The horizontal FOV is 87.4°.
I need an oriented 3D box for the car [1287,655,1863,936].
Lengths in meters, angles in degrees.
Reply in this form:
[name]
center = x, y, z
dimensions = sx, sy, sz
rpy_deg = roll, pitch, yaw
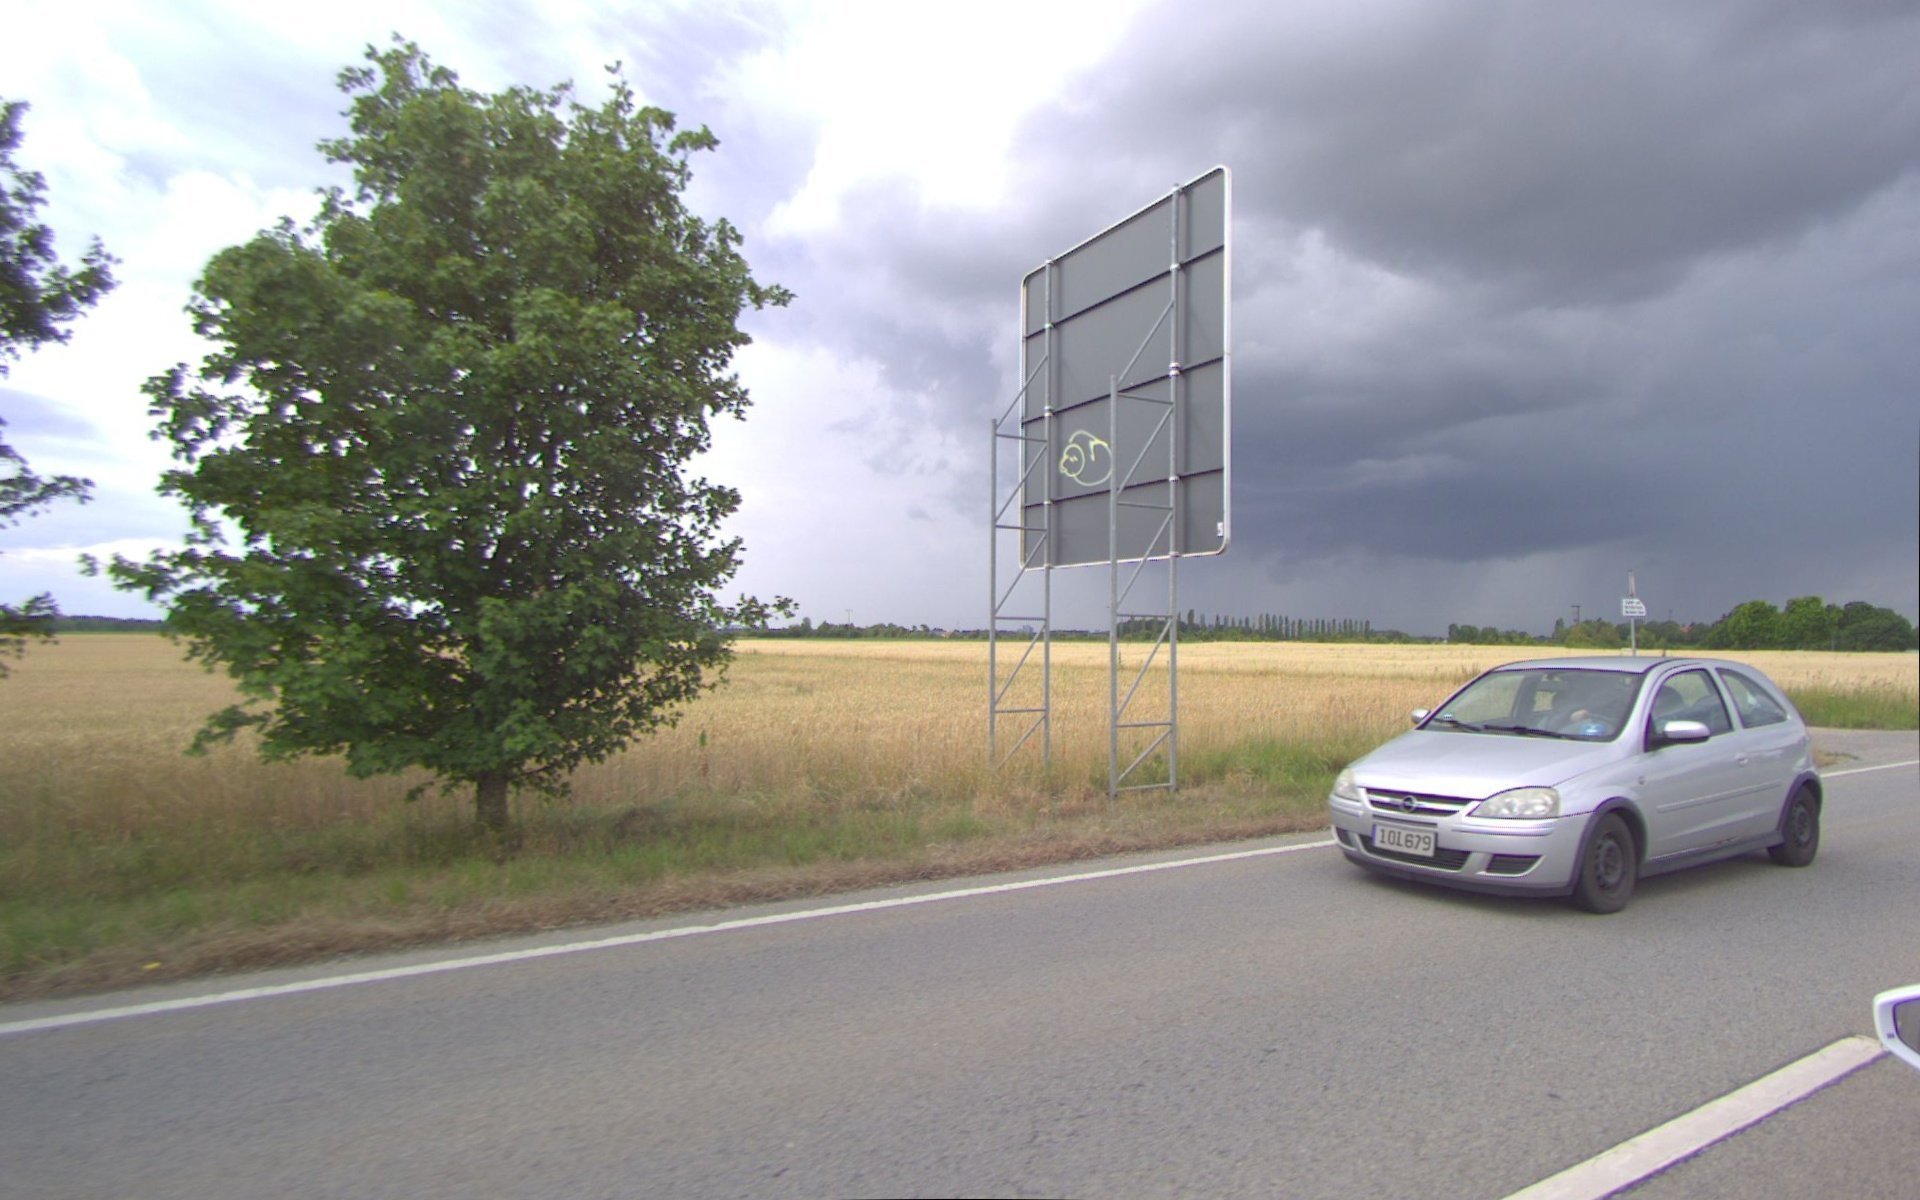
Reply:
[car]
center = 4.250, 1.085, 6.840
dimensions = 3.903, 1.381, 1.721
rpy_deg = 2, -2, -30
